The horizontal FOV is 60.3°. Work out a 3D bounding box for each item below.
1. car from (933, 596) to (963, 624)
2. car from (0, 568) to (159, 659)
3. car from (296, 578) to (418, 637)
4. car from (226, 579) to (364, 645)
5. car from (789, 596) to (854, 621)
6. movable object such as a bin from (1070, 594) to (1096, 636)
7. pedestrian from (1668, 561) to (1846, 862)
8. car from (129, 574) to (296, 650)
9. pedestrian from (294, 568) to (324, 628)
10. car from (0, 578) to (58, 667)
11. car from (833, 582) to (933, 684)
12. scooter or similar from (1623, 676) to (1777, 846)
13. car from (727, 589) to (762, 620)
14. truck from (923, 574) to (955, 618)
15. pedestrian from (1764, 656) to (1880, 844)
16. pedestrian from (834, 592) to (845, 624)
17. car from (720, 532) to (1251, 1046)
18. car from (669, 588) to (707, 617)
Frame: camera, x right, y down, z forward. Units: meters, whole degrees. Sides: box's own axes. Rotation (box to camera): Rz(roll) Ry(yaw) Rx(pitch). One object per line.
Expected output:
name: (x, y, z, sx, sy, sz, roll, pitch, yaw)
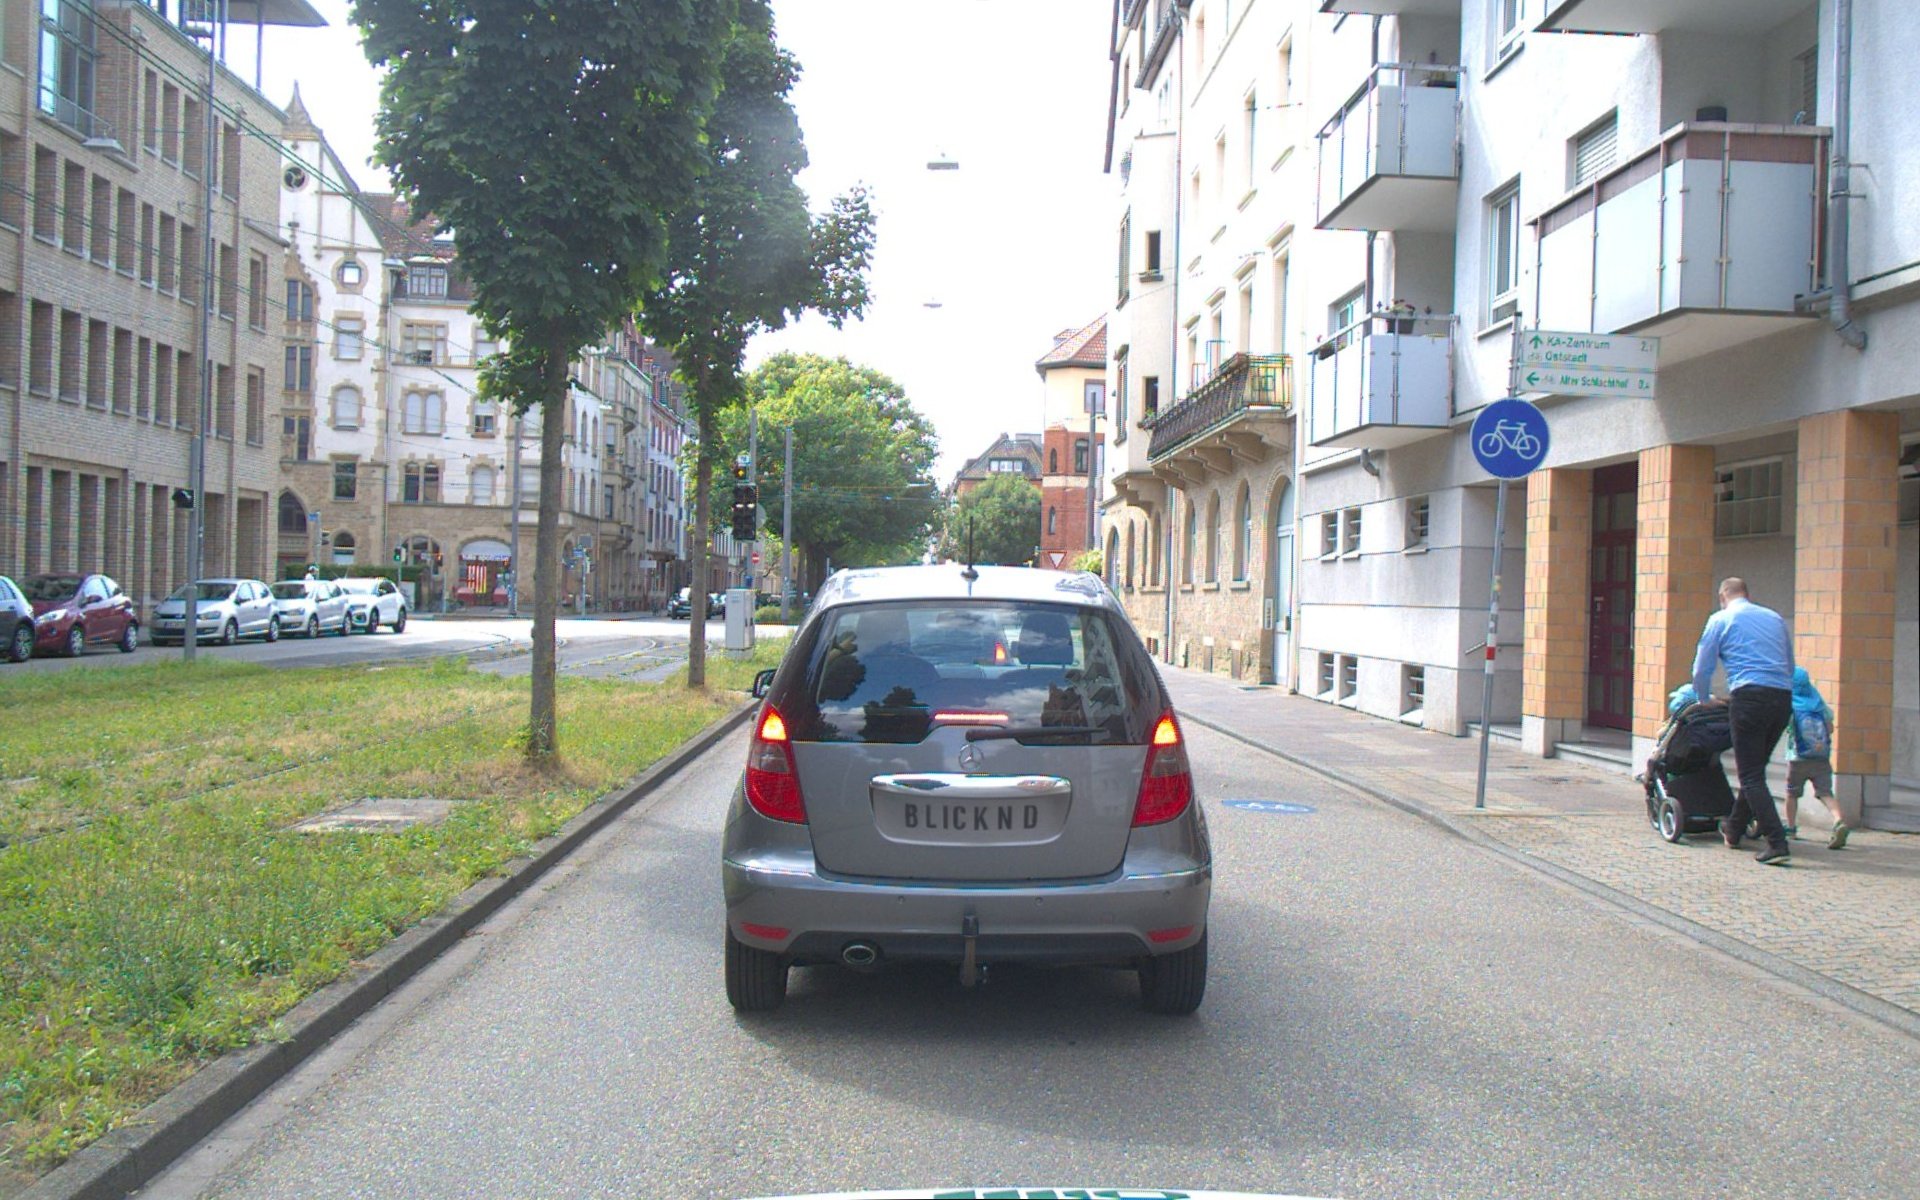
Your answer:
car: (-0.745, 0.628, 103.964, 1.716, 1.661, 3.500, 2, 0, 2)
car: (-16.402, 0.229, 30.477, 1.550, 1.557, 3.549, 1, 0, -1)
car: (-16.984, 0.201, 46.820, 1.893, 1.561, 4.257, 1, 0, -1)
car: (-16.875, 0.285, 42.201, 1.893, 1.557, 4.014, 1, 0, -1)
car: (-8.268, 0.515, 98.457, 1.957, 1.362, 3.941, 2, 0, -41)
movable object such as a bin: (4.428, 0.531, 59.647, 0.701, 1.497, 0.980, 1, 0, -10)
pedestrian: (4.934, 0.661, 10.286, 0.608, 1.769, 0.877, -2, 0, -1)
car: (-16.591, 0.245, 36.962, 1.813, 1.557, 4.209, 1, 0, -1)
pedestrian: (-20.368, -0.067, 51.747, 0.751, 1.827, 0.952, 2, 0, -27)
car: (-16.181, 0.336, 25.805, 1.893, 1.420, 4.238, 1, 0, -1)
car: (-1.359, 0.565, 30.306, 1.687, 1.736, 3.676, 1, 0, -1)
scooter or similar: (4.949, 1.058, 11.108, 0.580, 1.019, 0.905, -3, 0, -1)
car: (-12.647, 0.264, 97.042, 1.955, 1.758, 3.994, 1, 0, -7)
truck: (-1.460, -0.257, 116.828, 2.079, 3.022, 4.001, 1, 0, 2)
pedestrian: (5.578, 0.958, 10.714, 0.447, 1.154, 0.494, -2, 0, -1)
pedestrian: (-6.760, 0.426, 92.467, 0.484, 1.755, 0.652, 2, 0, -12)
car: (0.061, 0.611, 7.148, 1.687, 1.633, 3.676, 1, 0, -1)
car: (-15.700, 0.152, 95.457, 1.955, 1.646, 3.994, 1, 0, -7)
